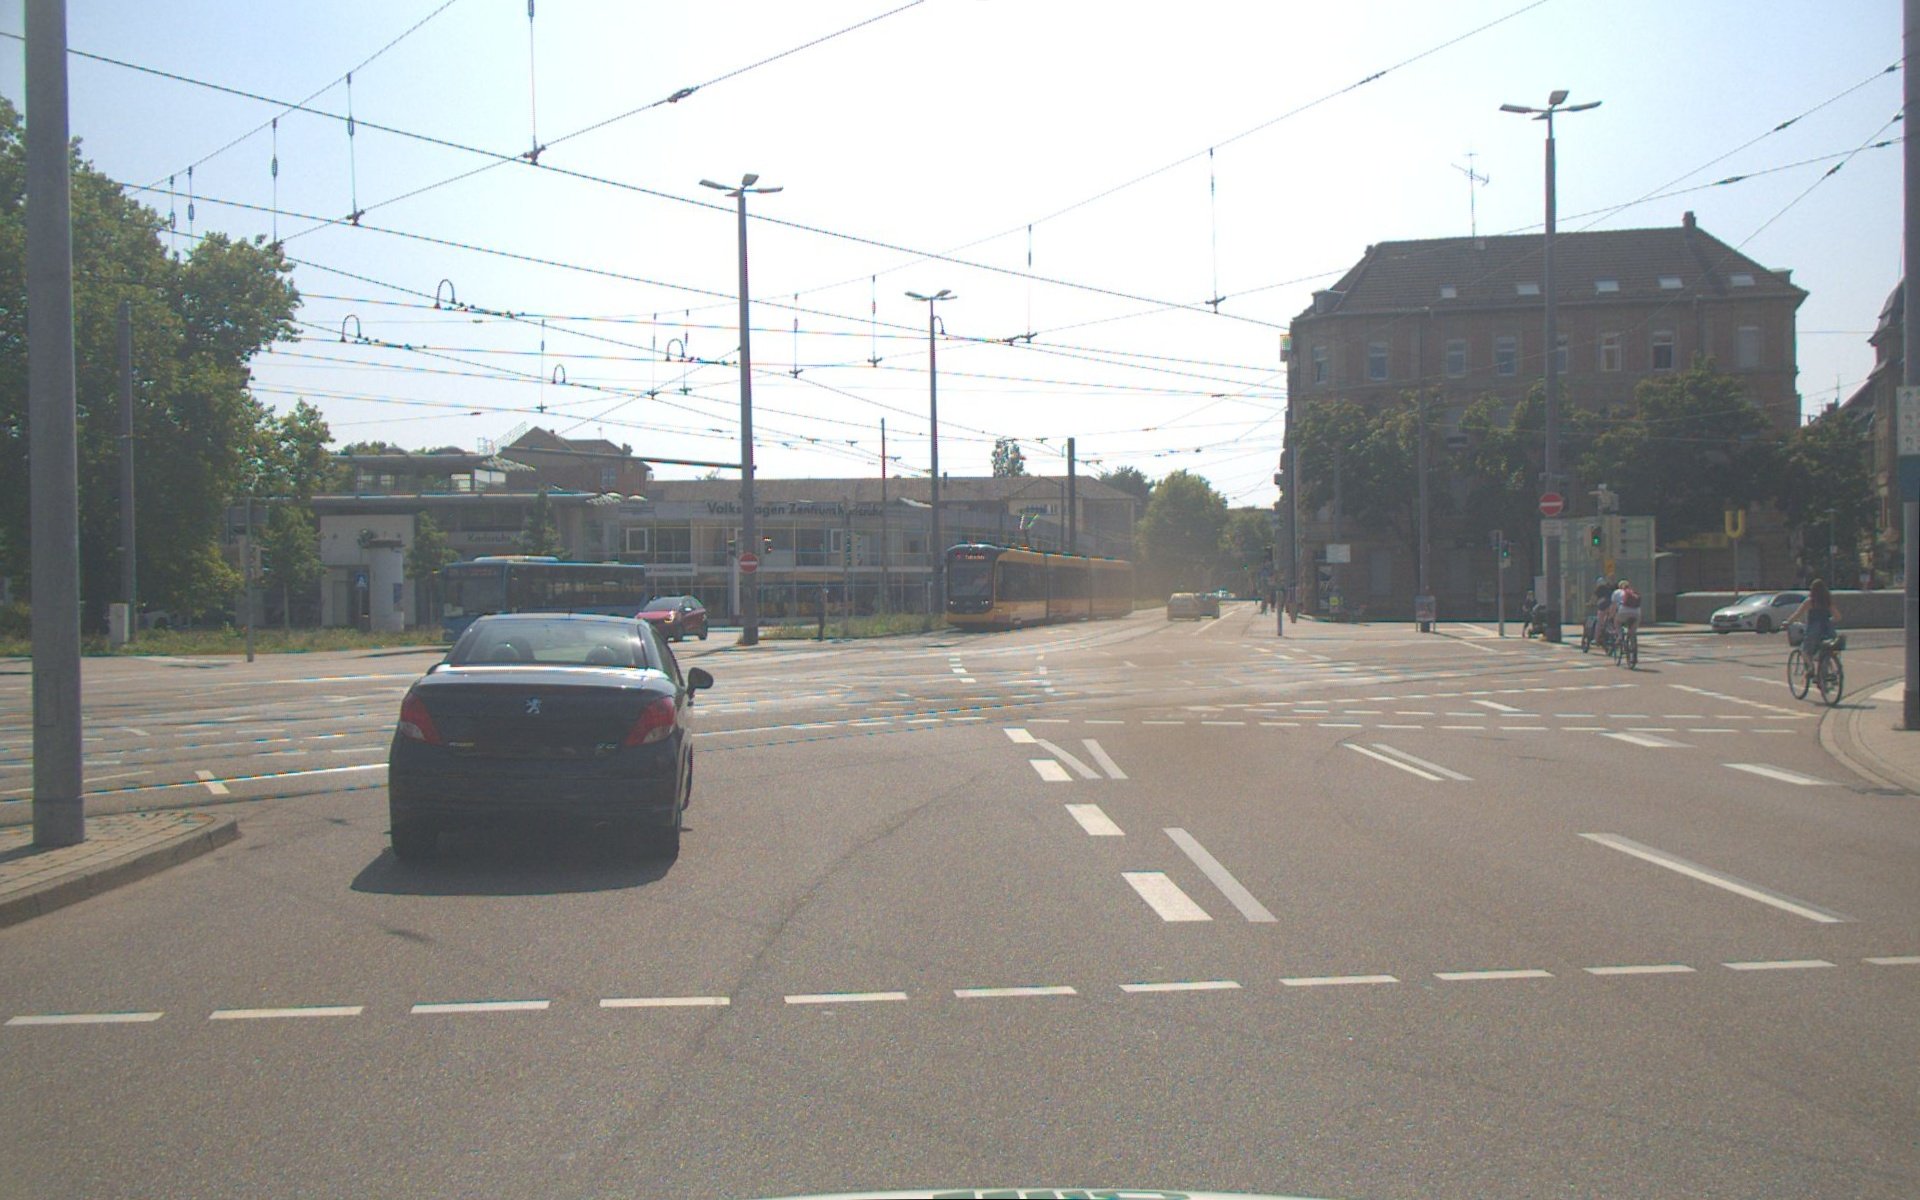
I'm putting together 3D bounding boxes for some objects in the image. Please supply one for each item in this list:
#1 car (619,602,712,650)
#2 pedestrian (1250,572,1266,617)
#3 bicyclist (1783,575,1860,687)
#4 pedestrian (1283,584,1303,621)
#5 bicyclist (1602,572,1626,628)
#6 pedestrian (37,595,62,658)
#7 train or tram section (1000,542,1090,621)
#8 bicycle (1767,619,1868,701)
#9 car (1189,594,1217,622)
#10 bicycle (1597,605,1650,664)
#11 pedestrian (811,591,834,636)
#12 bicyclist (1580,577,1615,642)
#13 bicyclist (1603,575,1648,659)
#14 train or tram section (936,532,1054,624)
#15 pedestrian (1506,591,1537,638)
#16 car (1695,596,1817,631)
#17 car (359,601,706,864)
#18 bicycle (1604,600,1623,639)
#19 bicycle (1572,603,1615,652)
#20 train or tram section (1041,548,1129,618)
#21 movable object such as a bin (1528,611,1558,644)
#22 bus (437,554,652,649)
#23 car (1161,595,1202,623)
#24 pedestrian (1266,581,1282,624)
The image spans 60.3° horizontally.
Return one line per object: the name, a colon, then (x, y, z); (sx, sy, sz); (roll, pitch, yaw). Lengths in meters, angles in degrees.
car: (-10.287, 0.889, 58.006); (1.712, 1.579, 4.003); (-1, 0, 14)
pedestrian: (20.485, -0.357, 113.705); (0.963, 3.070, 0.975); (-1, 0, 1)
bicyclist: (12.085, 0.431, 23.228); (0.719, 1.544, 0.663); (-1, 0, 0)
pedestrian: (14.983, 0.106, 74.350); (0.687, 1.631, 0.571); (-1, 0, -12)
bicyclist: (18.443, 0.006, 46.669); (0.599, 1.555, 0.521); (-1, 0, 21)
pedestrian: (-25.135, 0.733, 45.675); (0.545, 1.713, 0.451); (-1, 0, -23)
train or tram section: (4.217, -0.855, 79.966); (2.533, 3.578, 9.666); (-1, 0, 14)
bicycle: (12.081, 0.826, 23.348); (0.482, 1.074, 1.823); (-1, 0, 0)
car: (14.420, 0.474, 98.283); (1.601, 1.646, 4.003); (-1, 0, 8)
bicycle: (12.528, 0.643, 31.262); (0.525, 1.074, 1.655); (-1, 0, 8)
pedestrian: (-4.463, 0.436, 53.791); (0.667, 1.468, 0.364); (-1, 0, -22)
bicyclist: (14.109, 0.212, 36.635); (0.519, 1.417, 0.894); (-1, 0, 8)
bicyclist: (12.453, 0.317, 30.959); (0.614, 1.544, 0.712); (-1, 0, 8)
train or tram section: (1.655, -0.865, 69.953); (2.533, 3.578, 10.907); (-1, 0, 14)
pedestrian: (18.970, 0.485, 55.897); (0.521, 1.572, 0.845); (-1, 0, -28)
car: (27.734, 0.458, 57.626); (3.944, 1.109, 1.980); (-1, 0, -30)
car: (-2.613, 0.731, 10.922); (1.732, 1.412, 3.775); (1, 0, -7)
bicycle: (18.382, 0.543, 46.537); (0.459, 1.074, 1.654); (-1, 0, 21)
bicycle: (14.161, 0.606, 36.976); (0.525, 1.074, 1.655); (-1, 0, 8)
train or tram section: (7.030, -0.871, 90.988); (2.533, 3.578, 12.982); (-1, 0, 14)
movable object such as a bin: (19.434, 0.917, 55.158); (0.505, 1.096, 0.807); (-1, 0, -29)
bus: (-14.916, 0.043, 60.809); (2.507, 3.137, 12.033); (-1, 0, 13)
car: (11.947, 0.452, 89.153); (1.732, 1.440, 4.192); (-1, 0, 14)
pedestrian: (23.148, 0.181, 121.822); (0.963, 3.070, 0.975); (-1, 0, 2)
